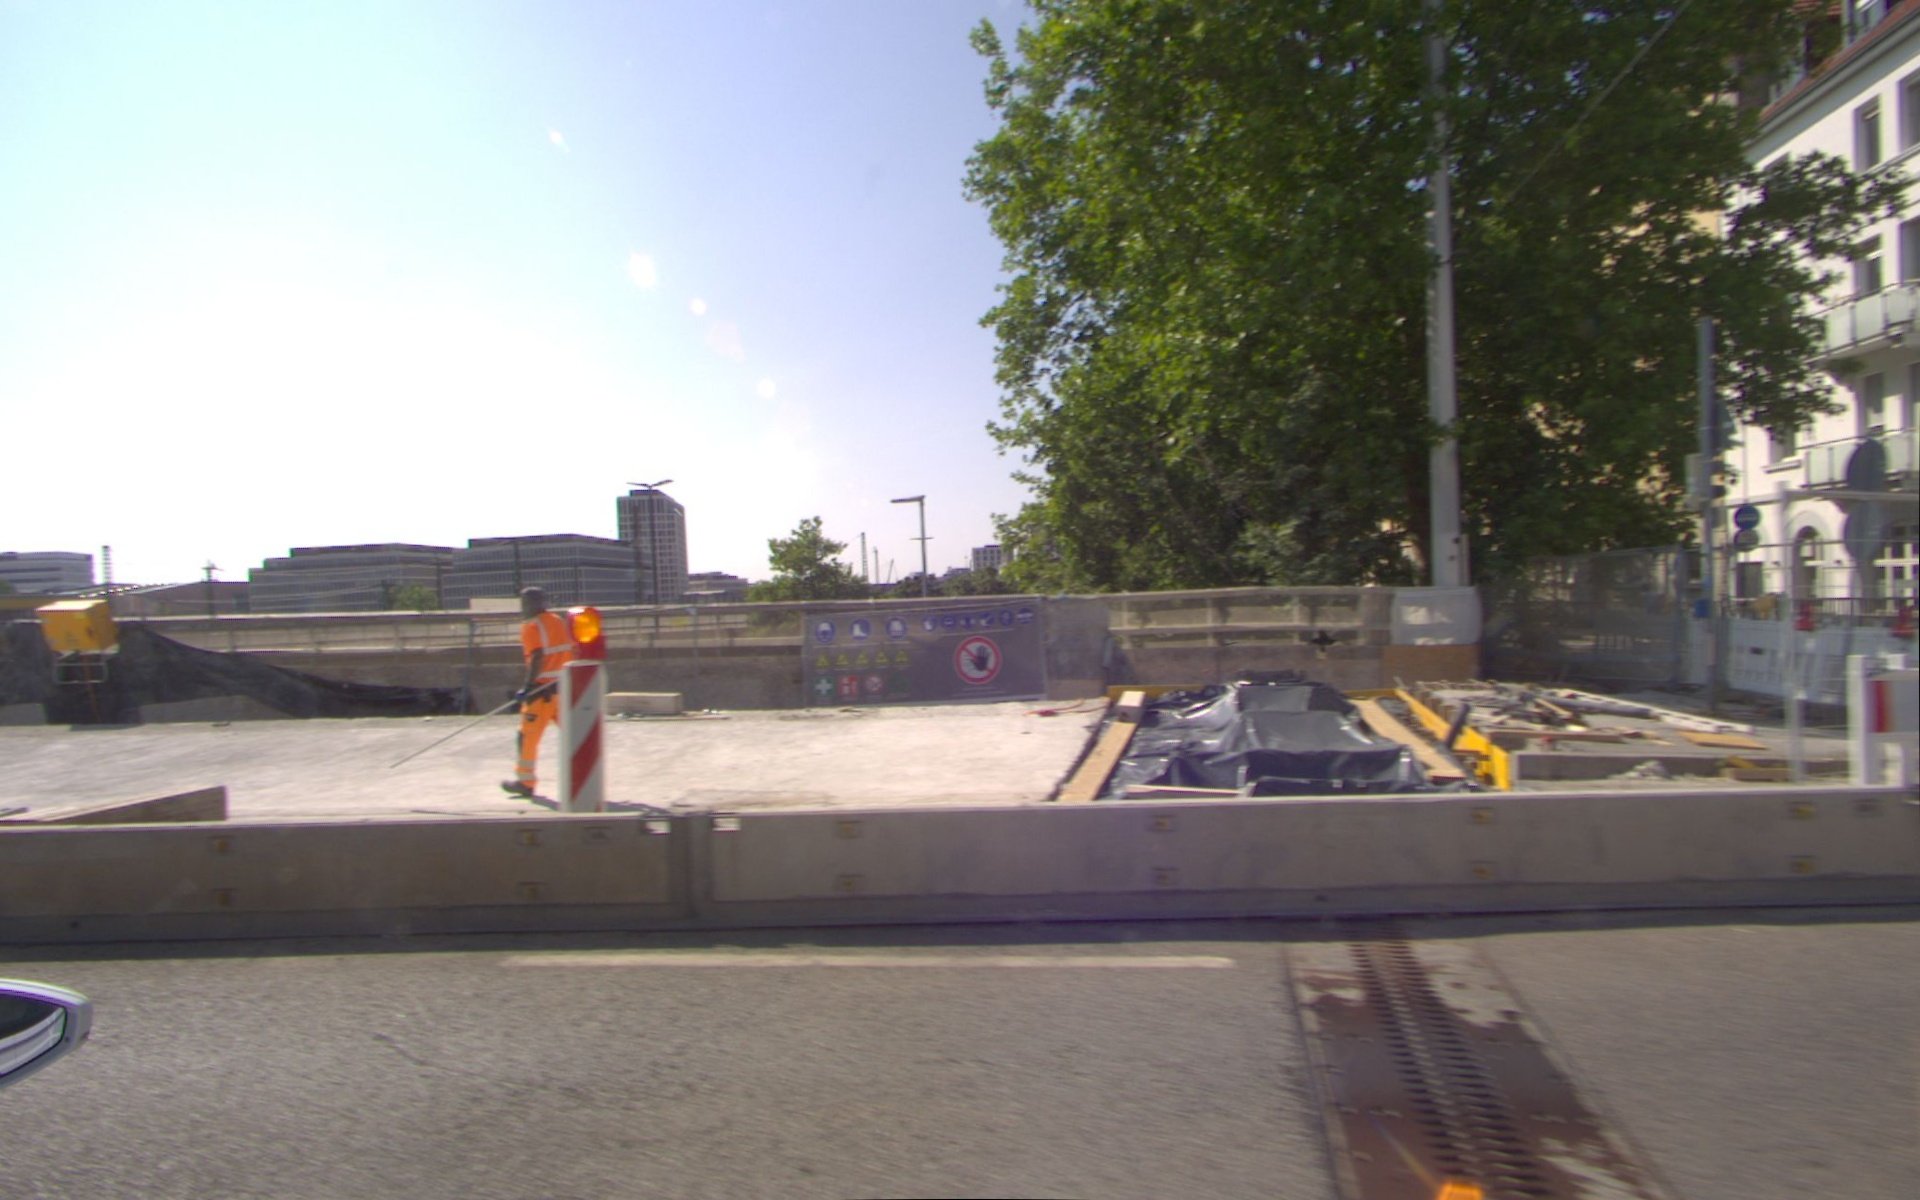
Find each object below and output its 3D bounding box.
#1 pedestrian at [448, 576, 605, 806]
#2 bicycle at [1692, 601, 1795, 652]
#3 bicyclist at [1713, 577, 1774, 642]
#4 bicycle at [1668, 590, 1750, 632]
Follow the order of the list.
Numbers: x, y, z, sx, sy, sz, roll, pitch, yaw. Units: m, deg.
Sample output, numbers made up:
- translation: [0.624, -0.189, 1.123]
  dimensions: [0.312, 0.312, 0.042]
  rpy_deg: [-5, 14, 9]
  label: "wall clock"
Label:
- translation: [-3.600, 0.726, 8.395]
  dimensions: [0.847, 1.820, 0.821]
  rpy_deg: [-1, 3, 3]
  label: "pedestrian"
- translation: [19.109, 0.626, 24.517]
  dimensions: [0.824, 1.152, 2.856]
  rpy_deg: [-1, 0, 12]
  label: "bicycle"
- translation: [19.084, 0.227, 24.412]
  dimensions: [0.824, 1.528, 0.952]
  rpy_deg: [-1, 1, 12]
  label: "bicyclist"
- translation: [22.017, 0.307, 29.507]
  dimensions: [0.824, 1.152, 2.856]
  rpy_deg: [-1, 0, 12]
  label: "bicycle"
